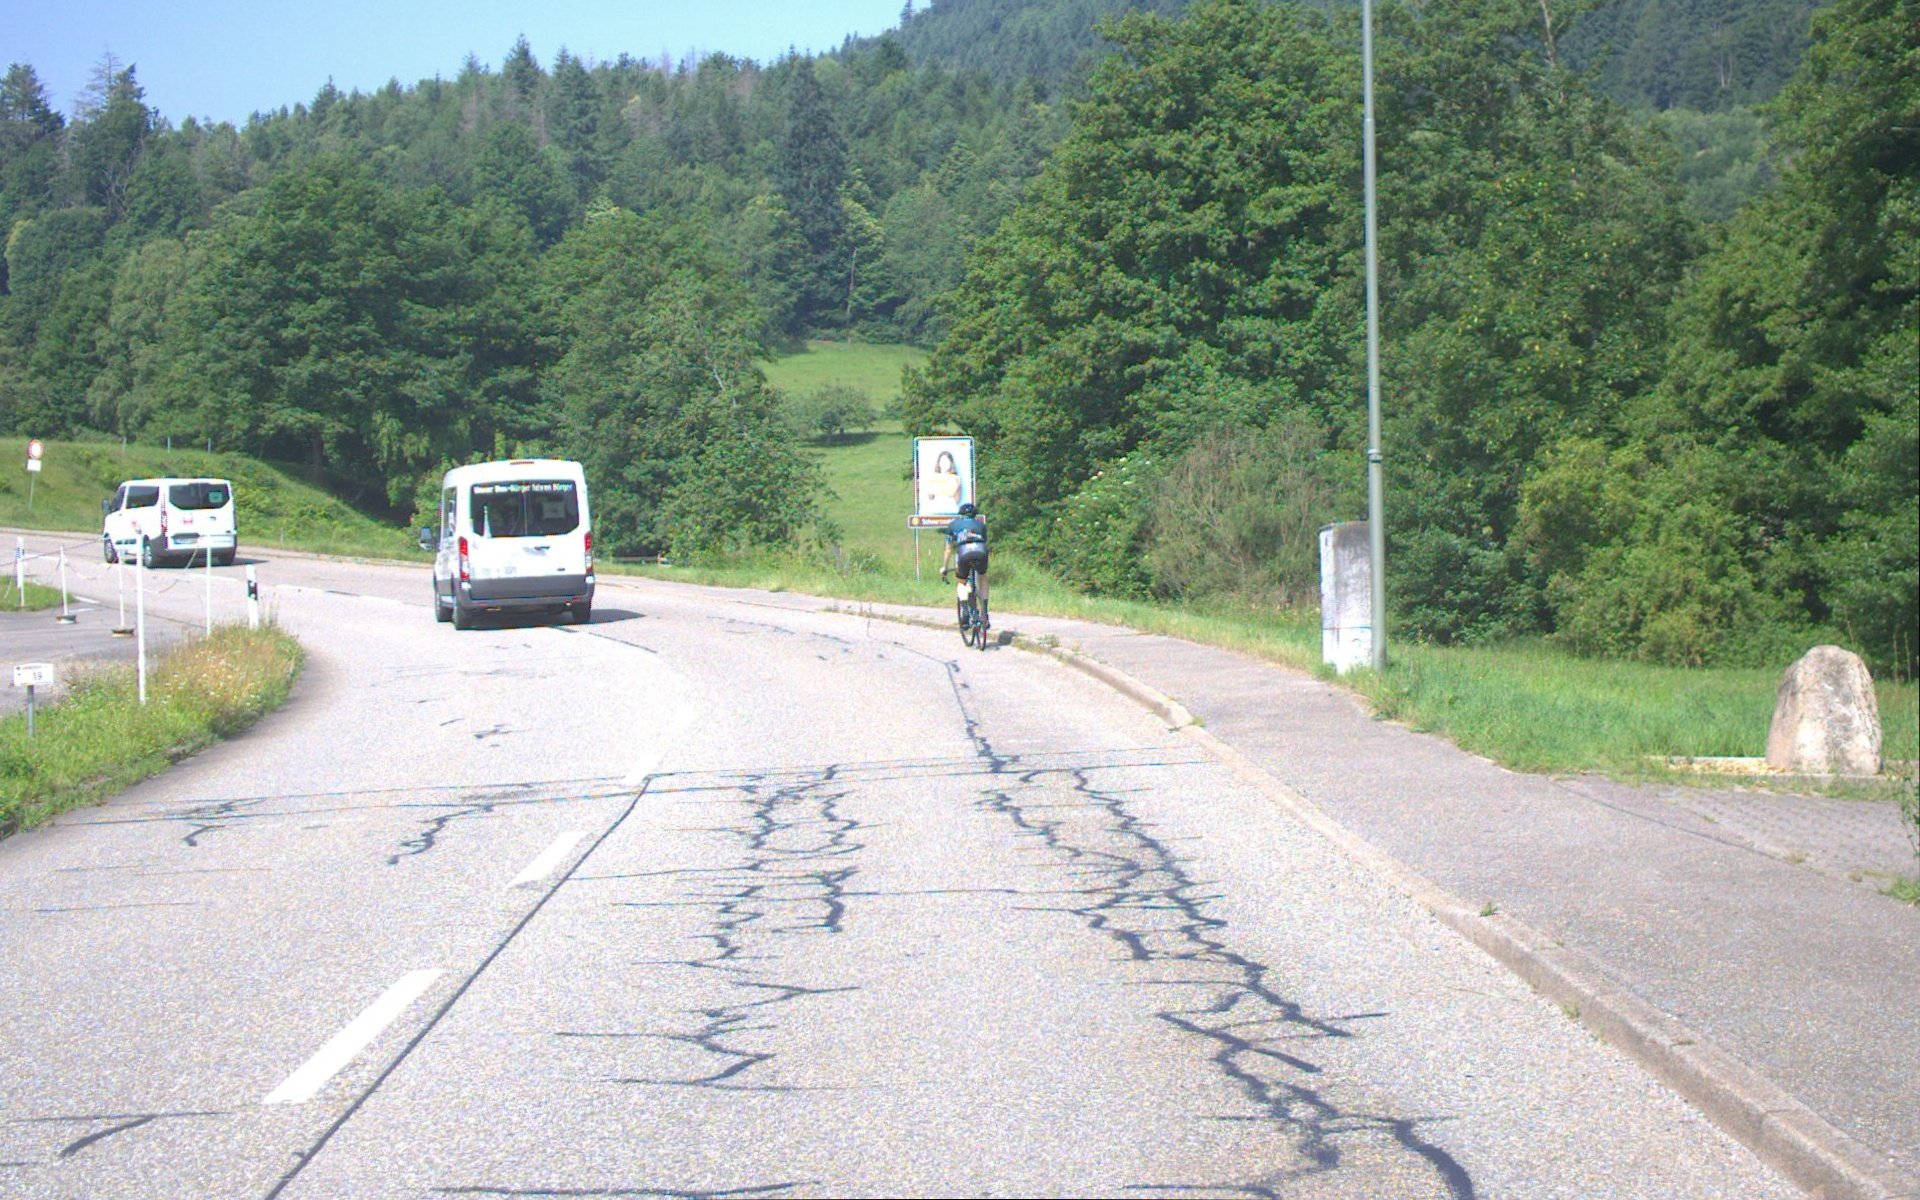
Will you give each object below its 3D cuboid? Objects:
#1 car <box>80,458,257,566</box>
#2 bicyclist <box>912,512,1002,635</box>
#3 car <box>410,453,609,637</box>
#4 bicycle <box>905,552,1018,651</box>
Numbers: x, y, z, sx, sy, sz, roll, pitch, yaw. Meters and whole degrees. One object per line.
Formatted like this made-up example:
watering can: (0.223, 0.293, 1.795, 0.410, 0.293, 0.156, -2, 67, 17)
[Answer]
car: (-18.257, -2.040, 79.148, 2.223, 2.278, 4.984, -5, 4, -33)
bicyclist: (-0.038, -0.315, 38.970, 0.579, 1.338, 1.145, -5, 3, -19)
car: (-6.907, -0.909, 52.252, 2.222, 2.516, 4.987, -4, 4, -15)
bicycle: (0.007, -0.001, 38.931, 0.579, 1.031, 1.991, -5, 3, -19)
